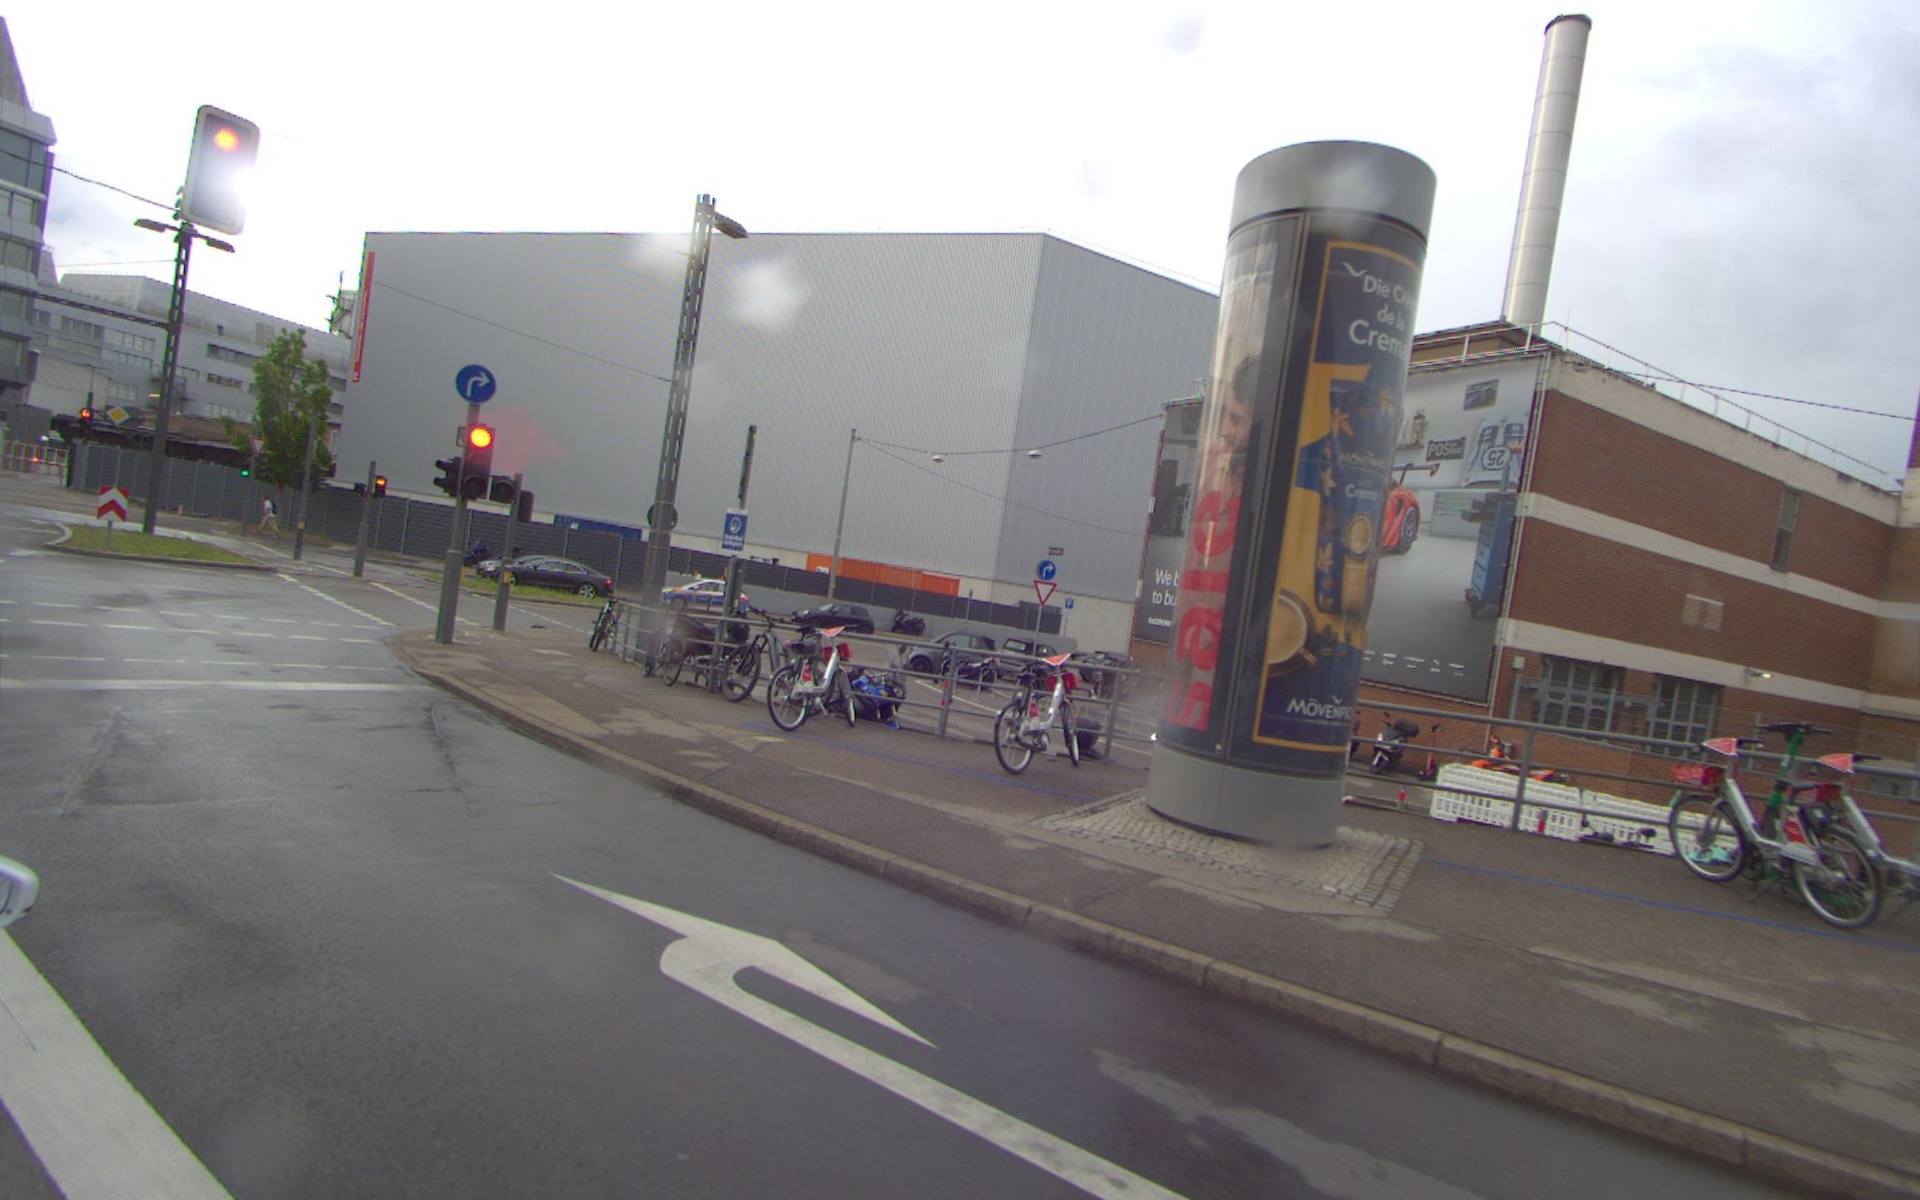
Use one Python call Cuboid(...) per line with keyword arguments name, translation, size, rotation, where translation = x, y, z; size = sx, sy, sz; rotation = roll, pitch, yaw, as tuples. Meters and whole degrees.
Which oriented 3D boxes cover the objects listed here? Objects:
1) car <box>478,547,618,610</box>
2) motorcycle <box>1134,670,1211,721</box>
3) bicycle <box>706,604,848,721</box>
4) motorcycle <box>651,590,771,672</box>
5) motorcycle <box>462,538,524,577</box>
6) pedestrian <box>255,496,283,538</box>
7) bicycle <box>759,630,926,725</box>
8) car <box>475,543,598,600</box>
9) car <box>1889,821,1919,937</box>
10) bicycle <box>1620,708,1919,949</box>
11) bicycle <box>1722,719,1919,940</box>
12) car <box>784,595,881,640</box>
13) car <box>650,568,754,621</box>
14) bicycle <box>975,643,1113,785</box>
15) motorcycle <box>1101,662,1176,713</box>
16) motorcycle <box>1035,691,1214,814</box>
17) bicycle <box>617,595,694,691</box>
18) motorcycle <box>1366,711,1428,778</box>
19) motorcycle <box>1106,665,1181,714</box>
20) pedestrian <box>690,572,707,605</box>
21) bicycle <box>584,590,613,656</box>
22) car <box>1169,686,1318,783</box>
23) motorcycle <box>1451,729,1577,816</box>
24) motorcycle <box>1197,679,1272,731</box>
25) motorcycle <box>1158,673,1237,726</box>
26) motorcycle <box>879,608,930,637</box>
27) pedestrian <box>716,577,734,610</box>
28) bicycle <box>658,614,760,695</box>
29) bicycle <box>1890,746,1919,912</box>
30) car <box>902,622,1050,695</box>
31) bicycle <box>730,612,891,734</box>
Cuboid(name="car", translation=(-15.170, -0.784, 37.165), size=(4.529, 1.558, 1.746), rotation=(10, 0, -25))
Cuboid(name="motorcycle", translation=(5.949, 2.676, 28.113), size=(1.997, 1.206, 0.605), rotation=(6, 3, -25))
Cuboid(name="bicycle", translation=(-2.255, 0.726, 12.211), size=(1.971, 1.176, 0.384), rotation=(6, 0, 39))
Cuboid(name="motorcycle", translation=(-5.222, 0.673, 21.191), size=(2.222, 1.470, 0.747), rotation=(8, 0, -44))
Cuboid(name="motorcycle", translation=(-20.697, -1.884, 44.606), size=(2.332, 1.360, 0.649), rotation=(8, 0, -26))
Cuboid(name="pedestrian", translation=(-28.745, -3.438, 41.851), size=(0.804, 1.630, 0.761), rotation=(6, 0, -37))
Cuboid(name="bicycle", translation=(-1.528, 0.968, 12.849), size=(2.140, 0.916, 0.692), rotation=(6, -1, 36))
Cuboid(name="car", translation=(-16.794, -1.127, 39.980), size=(4.248, 1.558, 1.746), rotation=(10, 0, -25))
Cuboid(name="car", translation=(16.265, 4.533, 14.150), size=(4.186, 1.628, 1.704), rotation=(10, -1, 24))
Cuboid(name="bicycle", translation=(5.774, 1.530, 7.192), size=(0.588, 1.239, 1.931), rotation=(6, 0, -4))
Cuboid(name="bicycle", translation=(6.462, 1.595, 6.990), size=(0.589, 1.239, 1.930), rotation=(6, 0, -6))
Cuboid(name="car", translation=(-5.835, 0.803, 46.026), size=(3.952, 1.409, 1.746), rotation=(10, 0, -25))
Cuboid(name="car", translation=(-11.154, -0.229, 43.417), size=(3.934, 1.620, 1.900), rotation=(9, -1, -25))
Cuboid(name="bicycle", translation=(0.853, 1.045, 9.690), size=(0.581, 1.176, 1.803), rotation=(7, 0, 27))
Cuboid(name="motorcycle", translation=(5.356, 2.629, 30.261), size=(1.985, 1.206, 0.609), rotation=(8, 3, 0))
Cuboid(name="motorcycle", translation=(1.813, 1.649, 11.134), size=(1.719, 1.002, 0.699), rotation=(8, 1, 25))
Cuboid(name="bicycle", translation=(-4.253, 0.568, 13.967), size=(0.382, 1.133, 1.733), rotation=(6, 0, -35))
Cuboid(name="motorcycle", translation=(9.986, 3.272, 22.957), size=(0.565, 1.327, 1.861), rotation=(10, 4, 41))
Cuboid(name="motorcycle", translation=(5.324, 2.600, 29.137), size=(1.995, 1.206, 0.606), rotation=(6, 3, -23))
Cuboid(name="pedestrian", translation=(-12.631, -0.559, 48.555), size=(0.605, 1.499, 0.422), rotation=(7, 1, -19))
Cuboid(name="bicycle", translation=(-6.813, 0.406, 18.941), size=(0.381, 1.111, 1.742), rotation=(7, 0, -21))
Cuboid(name="car", translation=(5.892, 2.688, 20.647), size=(1.666, 1.500, 3.551), rotation=(10, 2, 35))
Cuboid(name="motorcycle", translation=(11.599, 3.577, 21.112), size=(0.921, 1.327, 1.964), rotation=(5, 4, -37))
Cuboid(name="motorcycle", translation=(7.157, 2.749, 26.198), size=(2.003, 1.206, 0.604), rotation=(6, 4, -34))
Cuboid(name="motorcycle", translation=(6.366, 2.661, 26.963), size=(1.997, 1.206, 0.605), rotation=(6, 3, -25))
Cuboid(name="motorcycle", translation=(-2.986, 1.207, 54.302), size=(2.467, 1.201, 0.992), rotation=(8, 0, -30))
Cuboid(name="pedestrian", translation=(-11.363, -0.324, 48.700), size=(0.641, 1.499, 0.437), rotation=(7, 0, -21))
Cuboid(name="bicycle", translation=(-3.567, 0.751, 14.181), size=(0.529, 0.916, 1.792), rotation=(7, -1, -42))
Cuboid(name="bicycle", translation=(7.320, 1.719, 6.679), size=(0.588, 1.193, 1.933), rotation=(7, 0, 9))
Cuboid(name="car", translation=(0.471, 1.714, 29.916), size=(4.089, 1.547, 1.837), rotation=(8, -2, 1))
Cuboid(name="bicycle", translation=(-1.582, 0.794, 10.945), size=(0.667, 1.154, 1.772), rotation=(6, -1, 31))
